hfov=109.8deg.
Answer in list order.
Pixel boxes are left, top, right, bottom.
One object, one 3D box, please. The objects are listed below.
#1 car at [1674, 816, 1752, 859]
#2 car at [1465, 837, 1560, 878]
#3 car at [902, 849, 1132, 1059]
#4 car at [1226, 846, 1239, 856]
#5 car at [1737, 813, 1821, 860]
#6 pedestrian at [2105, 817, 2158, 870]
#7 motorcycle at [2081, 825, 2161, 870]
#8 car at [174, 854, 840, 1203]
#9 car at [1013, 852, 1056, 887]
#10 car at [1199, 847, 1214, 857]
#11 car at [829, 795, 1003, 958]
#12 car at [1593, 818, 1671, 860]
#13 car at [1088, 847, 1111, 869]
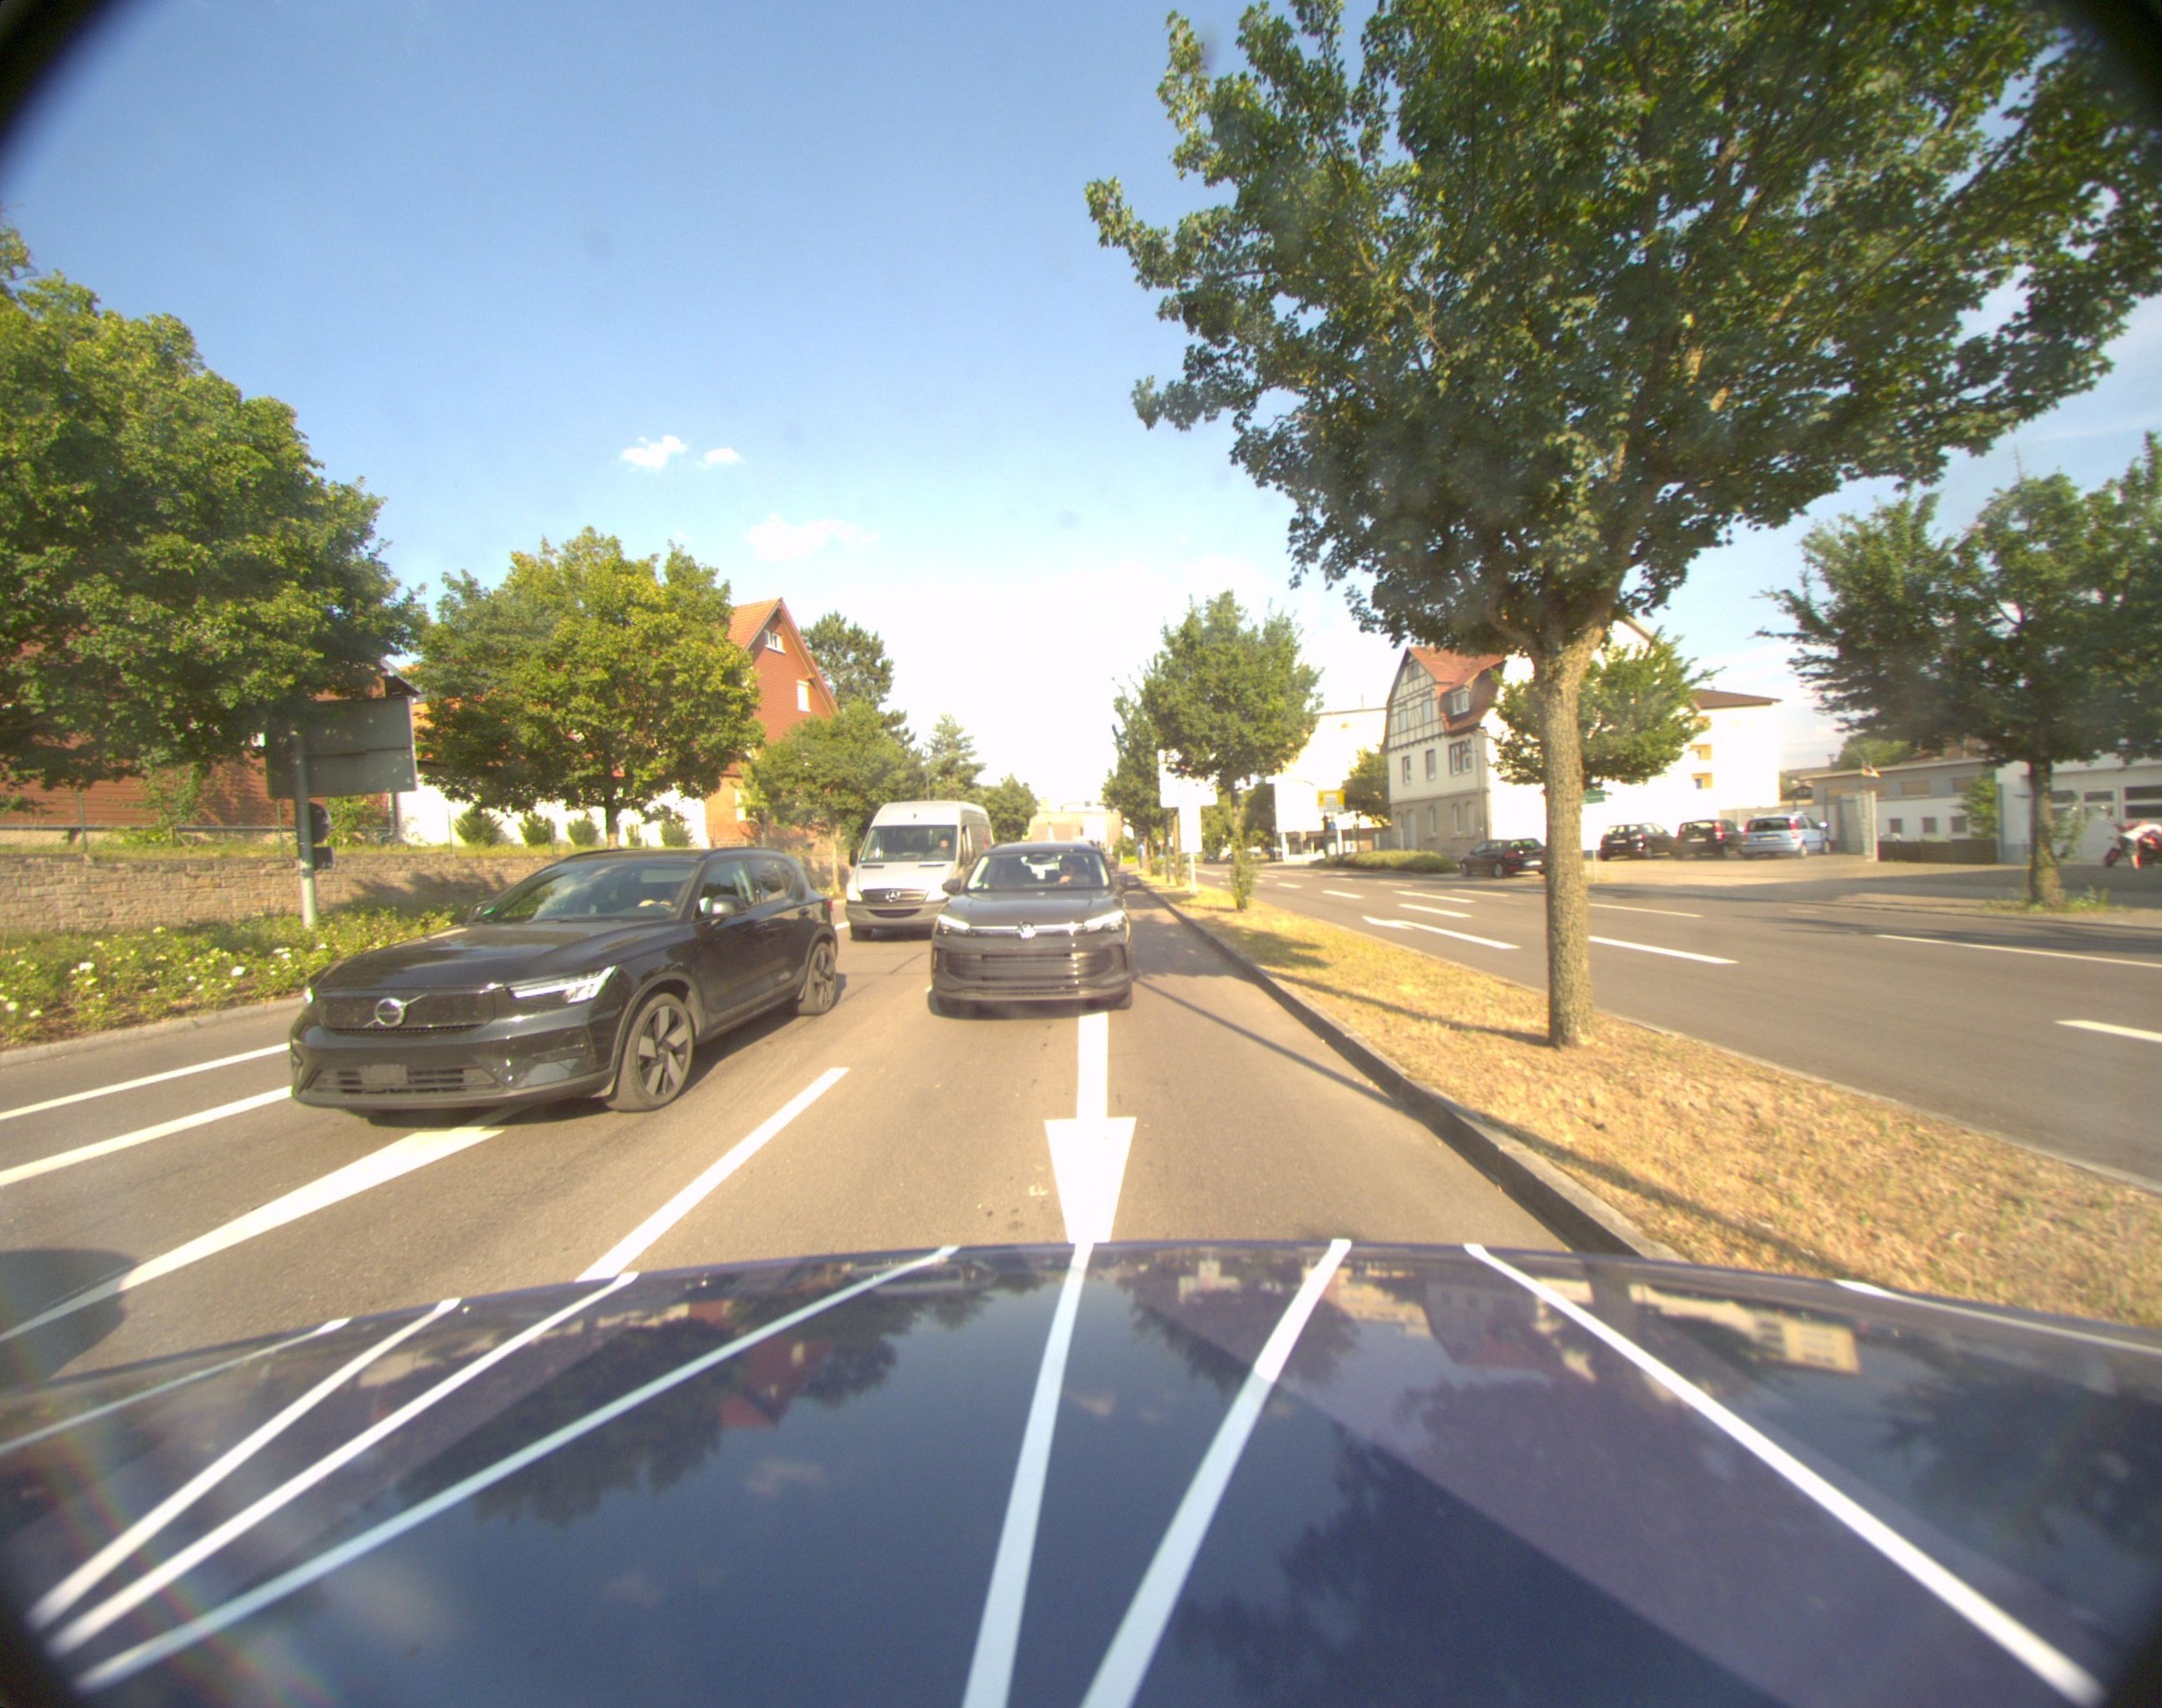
[{"bbox_3d":[24.540,-0.650,29.474,3.437,1.555,1.583,-3,1,-38],"label":"car"},{"bbox_3d":[16.015,0.100,28.380,1.672,1.310,3.432,-5,1,4],"label":"car"},{"bbox_3d":[-0.467,0.790,8.094,1.768,1.582,4.056,-3,1,1],"label":"car"},{"bbox_3d":[31.989,-0.636,160.203,1.996,2.002,4.005,-2,1,20],"label":"car"},{"bbox_3d":[24.612,-0.619,26.769,3.438,1.534,1.617,-2,1,-38],"label":"car"},{"bbox_3d":[27.257,-0.262,19.718,0.596,1.332,0.584,-2,1,-7],"label":"pedestrian"},{"bbox_3d":[27.759,-0.170,19.786,0.488,1.139,2.118,-3,0,-6],"label":"motorcycle"},{"bbox_3d":[-3.415,0.849,5.699,1.792,1.596,4.056,-2,1,1],"label":"car"},{"bbox_3d":[-2.295,0.723,38.282,1.768,1.582,4.056,-3,1,1],"label":"car"},{"bbox_3d":[25.001,-0.418,151.088,1.816,2.002,4.006,-2,1,27],"label":"car"},{"bbox_3d":[-3.086,0.335,15.986,2.040,2.643,6.648,-2,1,1],"label":"car"},{"bbox_3d":[22.992,-0.634,31.678,3.416,1.616,1.857,-3,1,-40],"label":"car"},{"bbox_3d":[1.495,0.286,61.628,1.768,1.582,4.056,-3,1,1],"label":"car"}]
